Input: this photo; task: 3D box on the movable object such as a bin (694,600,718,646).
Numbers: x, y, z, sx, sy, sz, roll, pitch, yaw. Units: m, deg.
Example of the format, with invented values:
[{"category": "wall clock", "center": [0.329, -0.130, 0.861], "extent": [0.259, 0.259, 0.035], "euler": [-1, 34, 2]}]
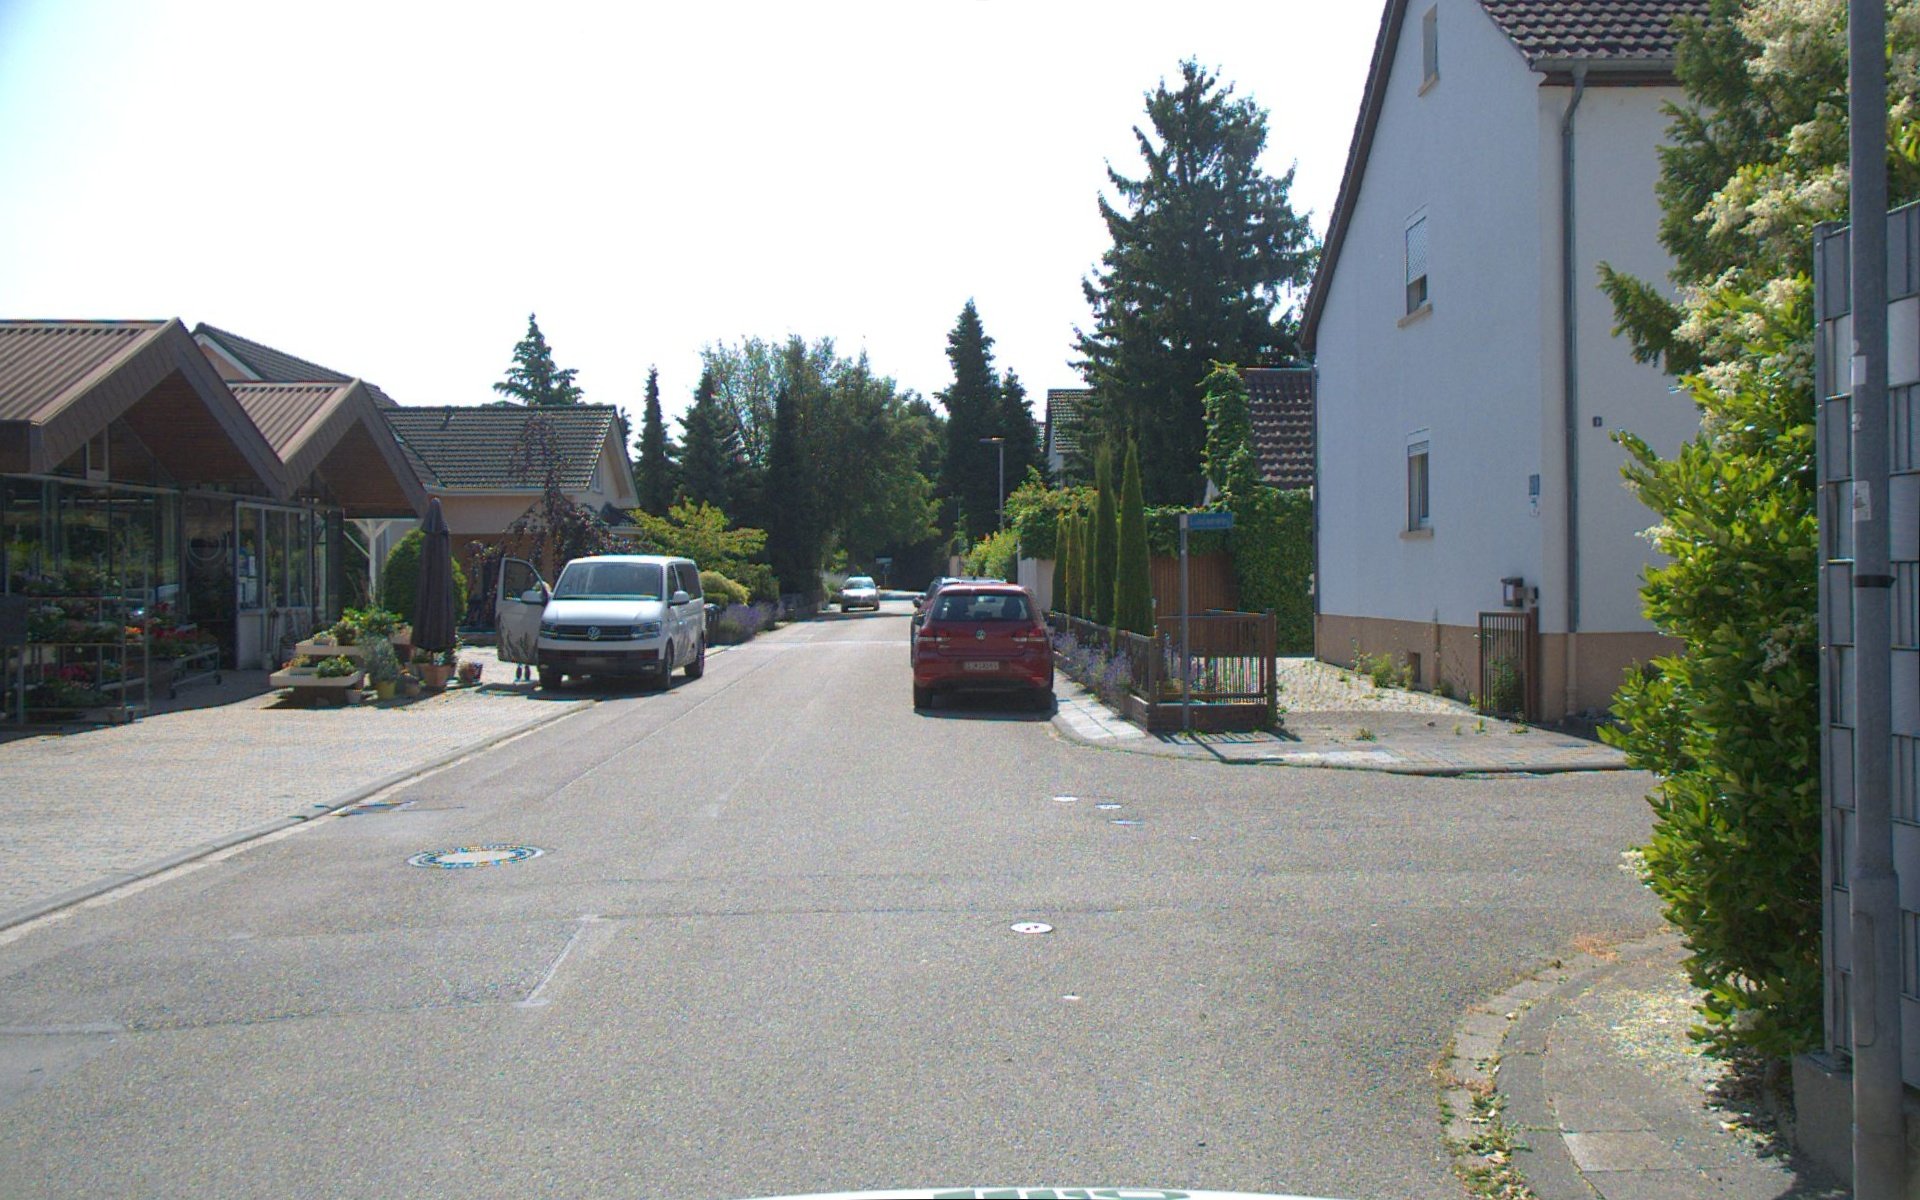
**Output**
[{"category": "movable object such as a bin", "center": [-5.946, 0.532, 38.771], "extent": [0.484, 1.042, 0.447], "euler": [-1, 1, -2]}]

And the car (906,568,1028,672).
[{"category": "car", "center": [0.048, 0.297, 28.259], "extent": [1.786, 1.643, 3.997], "euler": [0, 1, -4]}]

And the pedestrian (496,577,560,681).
[{"category": "pedestrian", "center": [-6.637, 0.438, 25.429], "extent": [0.704, 1.565, 0.640], "euler": [0, 1, 32]}]

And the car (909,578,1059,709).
[{"category": "car", "center": [0.353, 0.490, 21.431], "extent": [1.738, 1.505, 4.001], "euler": [1, 1, 2]}]

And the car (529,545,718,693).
[{"category": "car", "center": [-5.077, 0.237, 25.629], "extent": [1.889, 2.049, 4.896], "euler": [-1, 1, 0]}]

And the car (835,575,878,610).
[{"category": "car", "center": [-4.672, -0.343, 75.285], "extent": [1.717, 1.513, 4.375], "euler": [-1, 1, -1]}]
